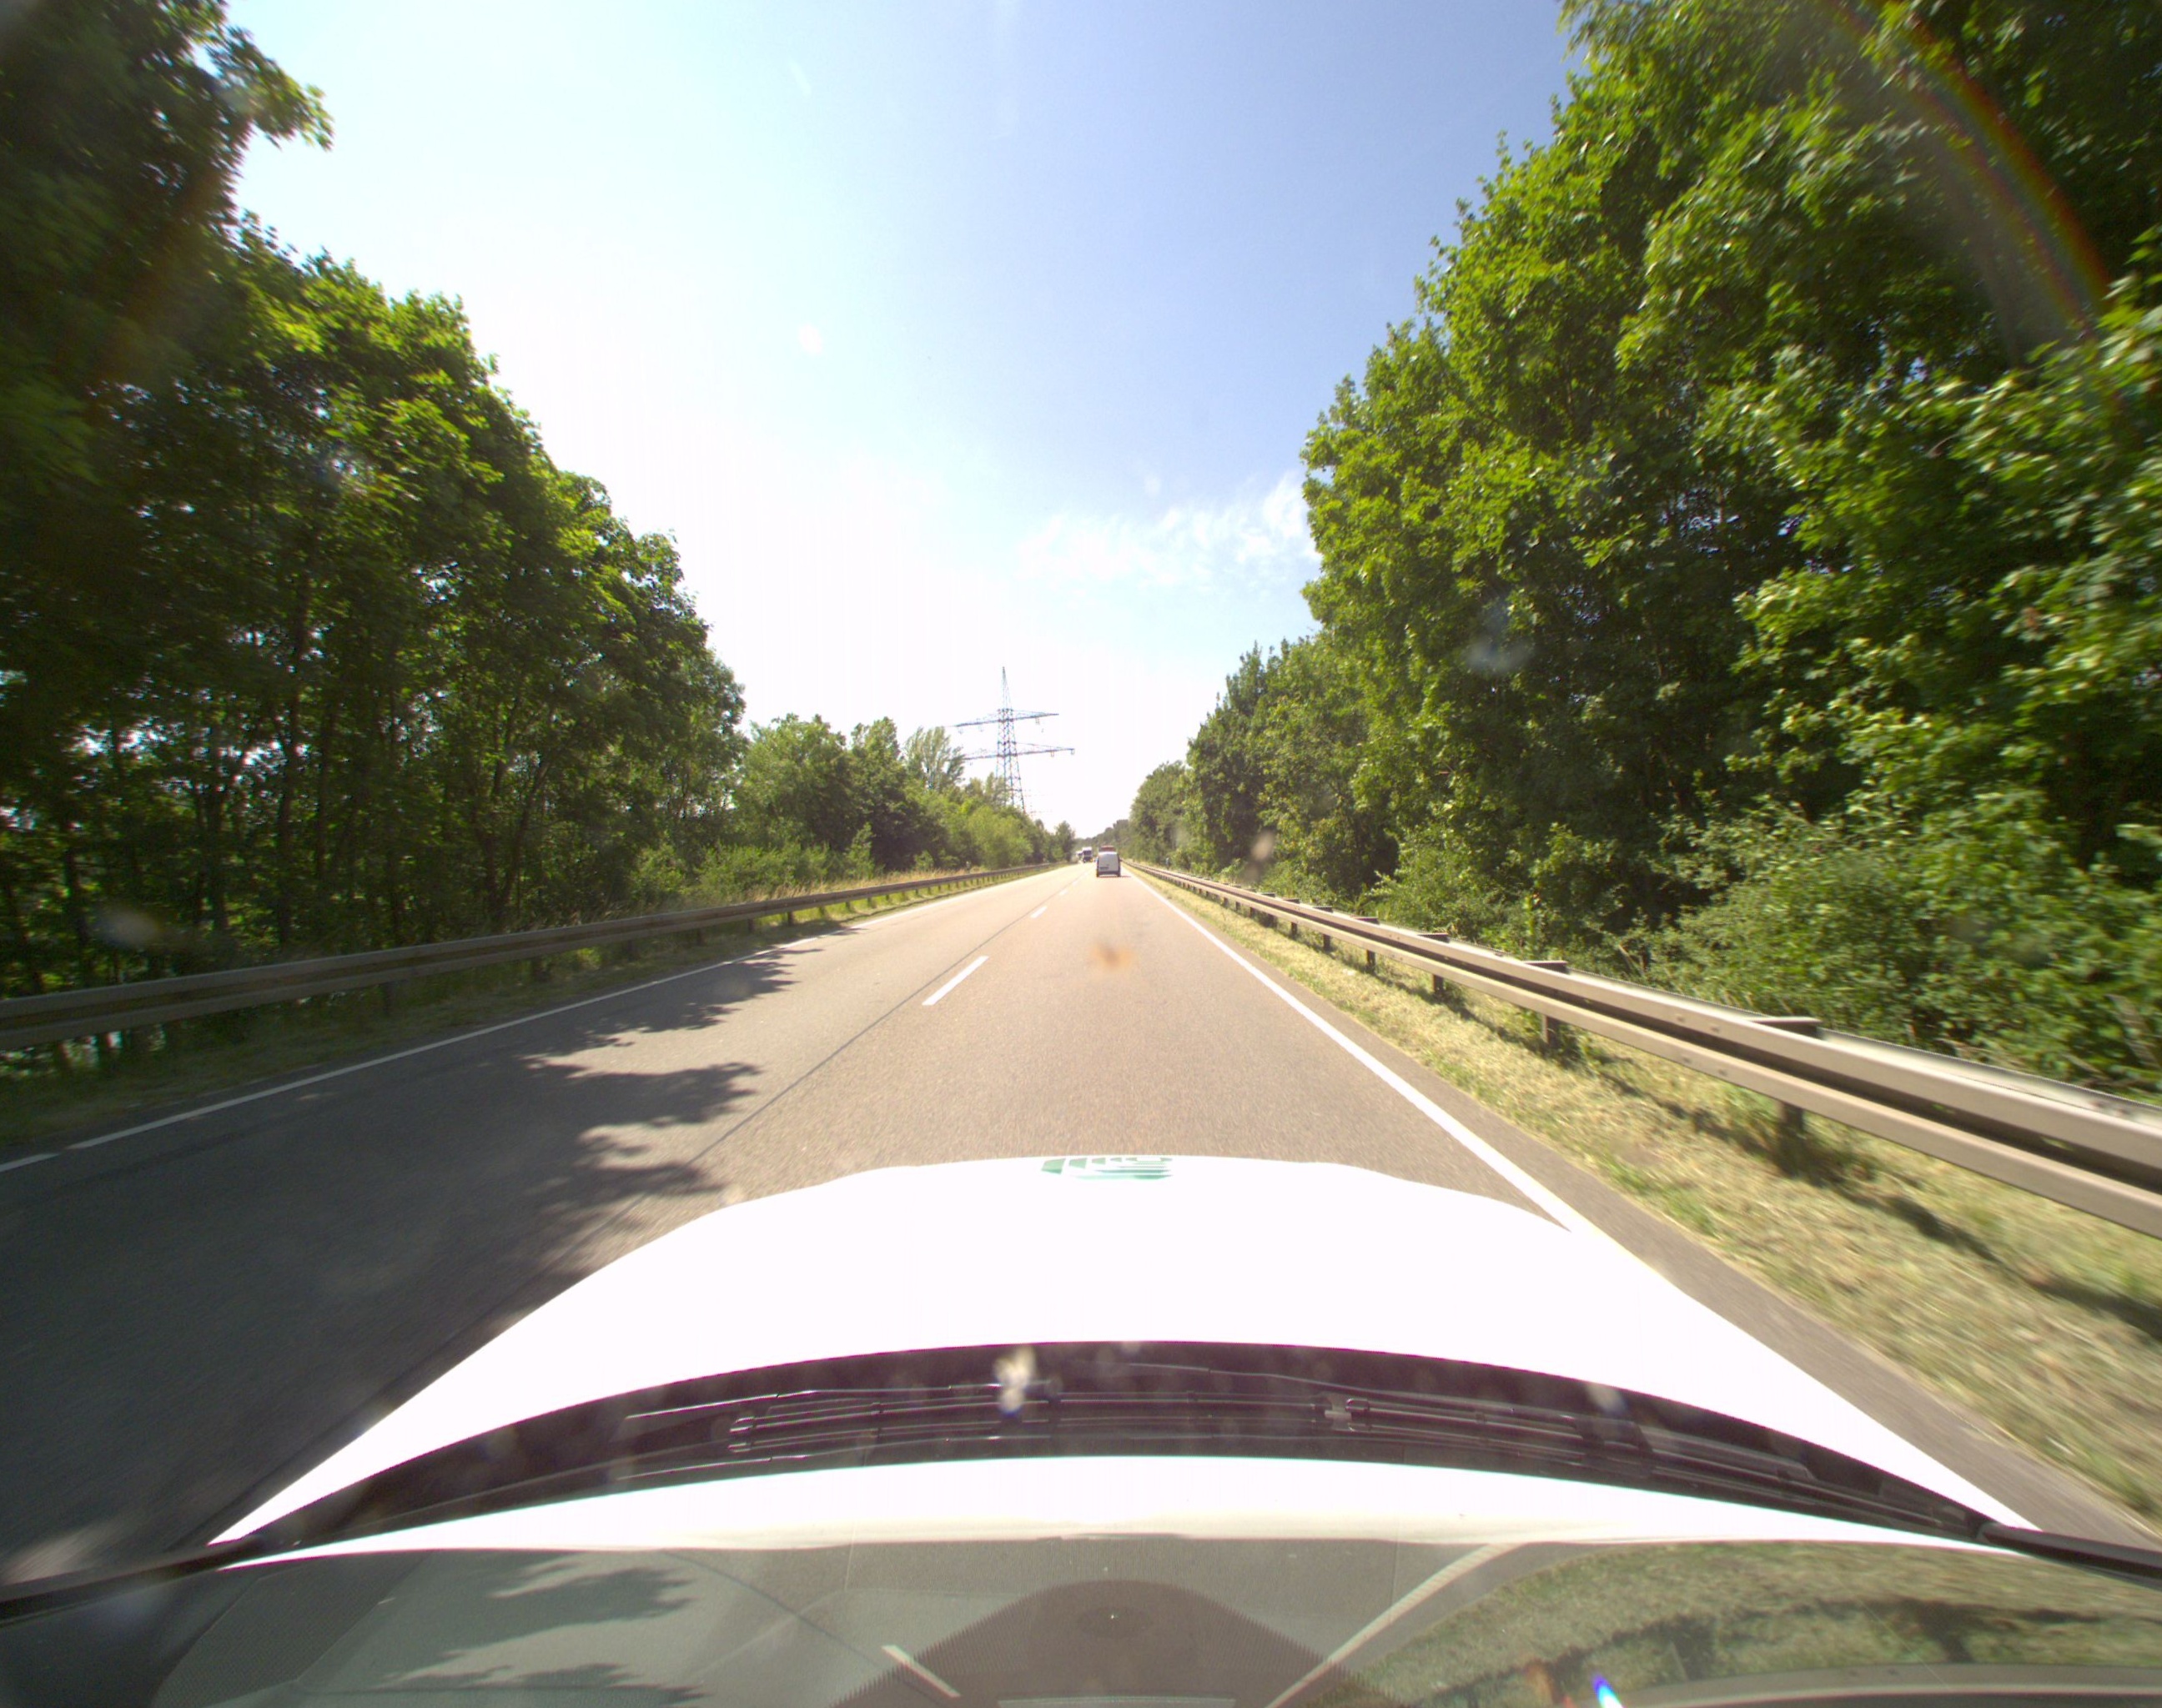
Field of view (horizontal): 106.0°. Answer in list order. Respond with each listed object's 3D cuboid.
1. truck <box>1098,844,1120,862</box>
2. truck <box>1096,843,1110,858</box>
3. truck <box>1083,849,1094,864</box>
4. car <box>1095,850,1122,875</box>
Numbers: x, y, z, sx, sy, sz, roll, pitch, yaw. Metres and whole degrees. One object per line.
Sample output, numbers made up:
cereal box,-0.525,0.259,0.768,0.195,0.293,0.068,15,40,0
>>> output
truck,5.026,-0.279,147.479,3.286,3.171,14.401,-1,1,0
truck,5.960,-1.084,222.293,3.392,3.854,16.813,-1,1,0
truck,1.909,0.766,217.616,2.753,3.999,5.909,-1,0,1
car,1.989,0.590,58.972,1.868,1.741,4.002,-1,1,1
